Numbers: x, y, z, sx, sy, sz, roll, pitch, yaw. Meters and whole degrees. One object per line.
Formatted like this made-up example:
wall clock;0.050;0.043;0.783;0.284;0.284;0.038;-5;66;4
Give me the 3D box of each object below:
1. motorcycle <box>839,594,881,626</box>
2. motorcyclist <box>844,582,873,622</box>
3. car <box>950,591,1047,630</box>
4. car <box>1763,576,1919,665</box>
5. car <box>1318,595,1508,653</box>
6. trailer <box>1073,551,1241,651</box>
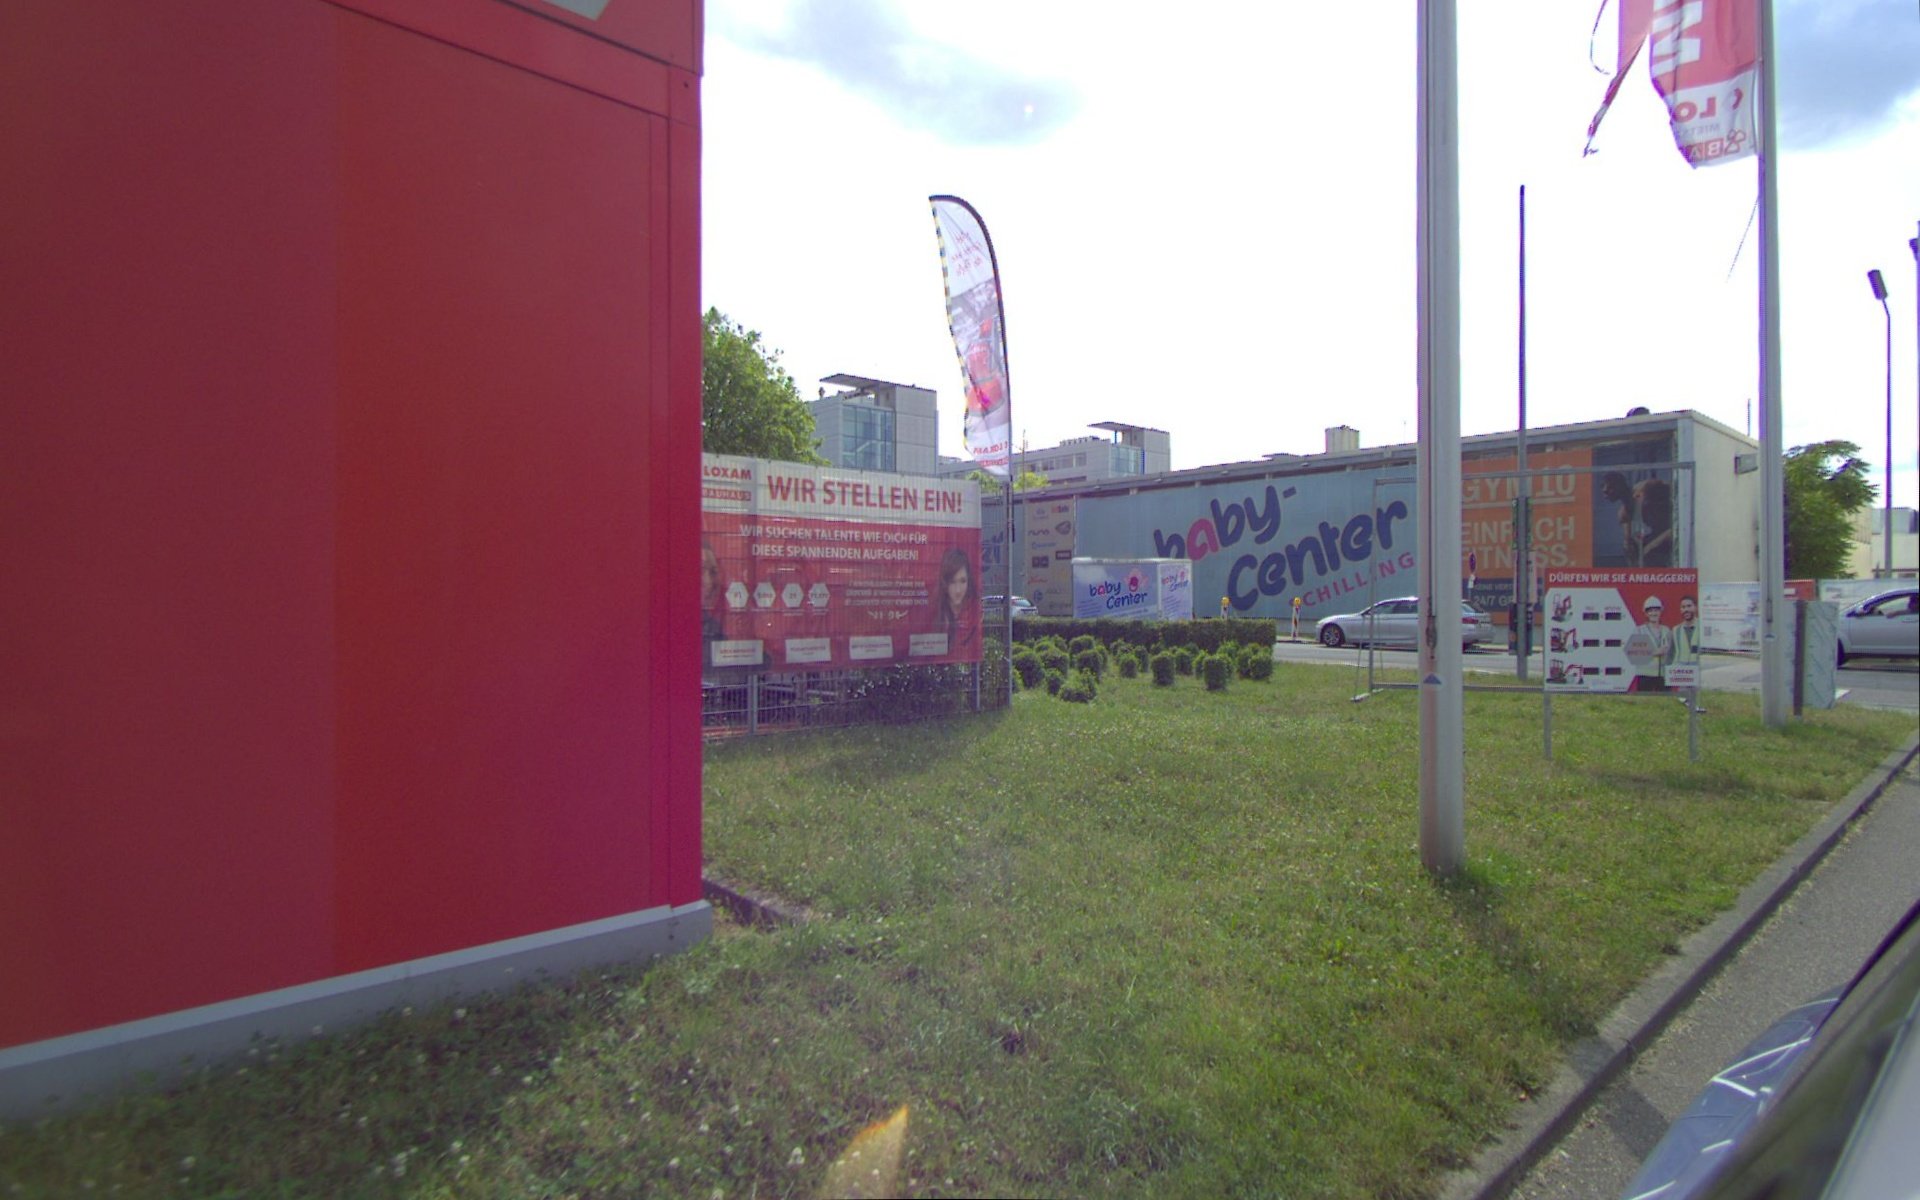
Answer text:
motorcycle;-4.200;0.414;42.400;0.634;1.261;1.955;-4;2;-42
motorcyclist;-4.262;0.064;42.375;0.761;1.617;0.902;-4;3;-43
car;1.536;0.398;41.471;1.763;1.509;3.941;0;0;-41
car;19.151;0.406;20.108;1.837;1.721;4.827;1;0;-44
car;12.612;0.623;28.431;1.739;1.499;4.611;1;0;-40
trailer;5.278;-0.031;27.520;1.739;2.448;4.270;-4;3;-41
